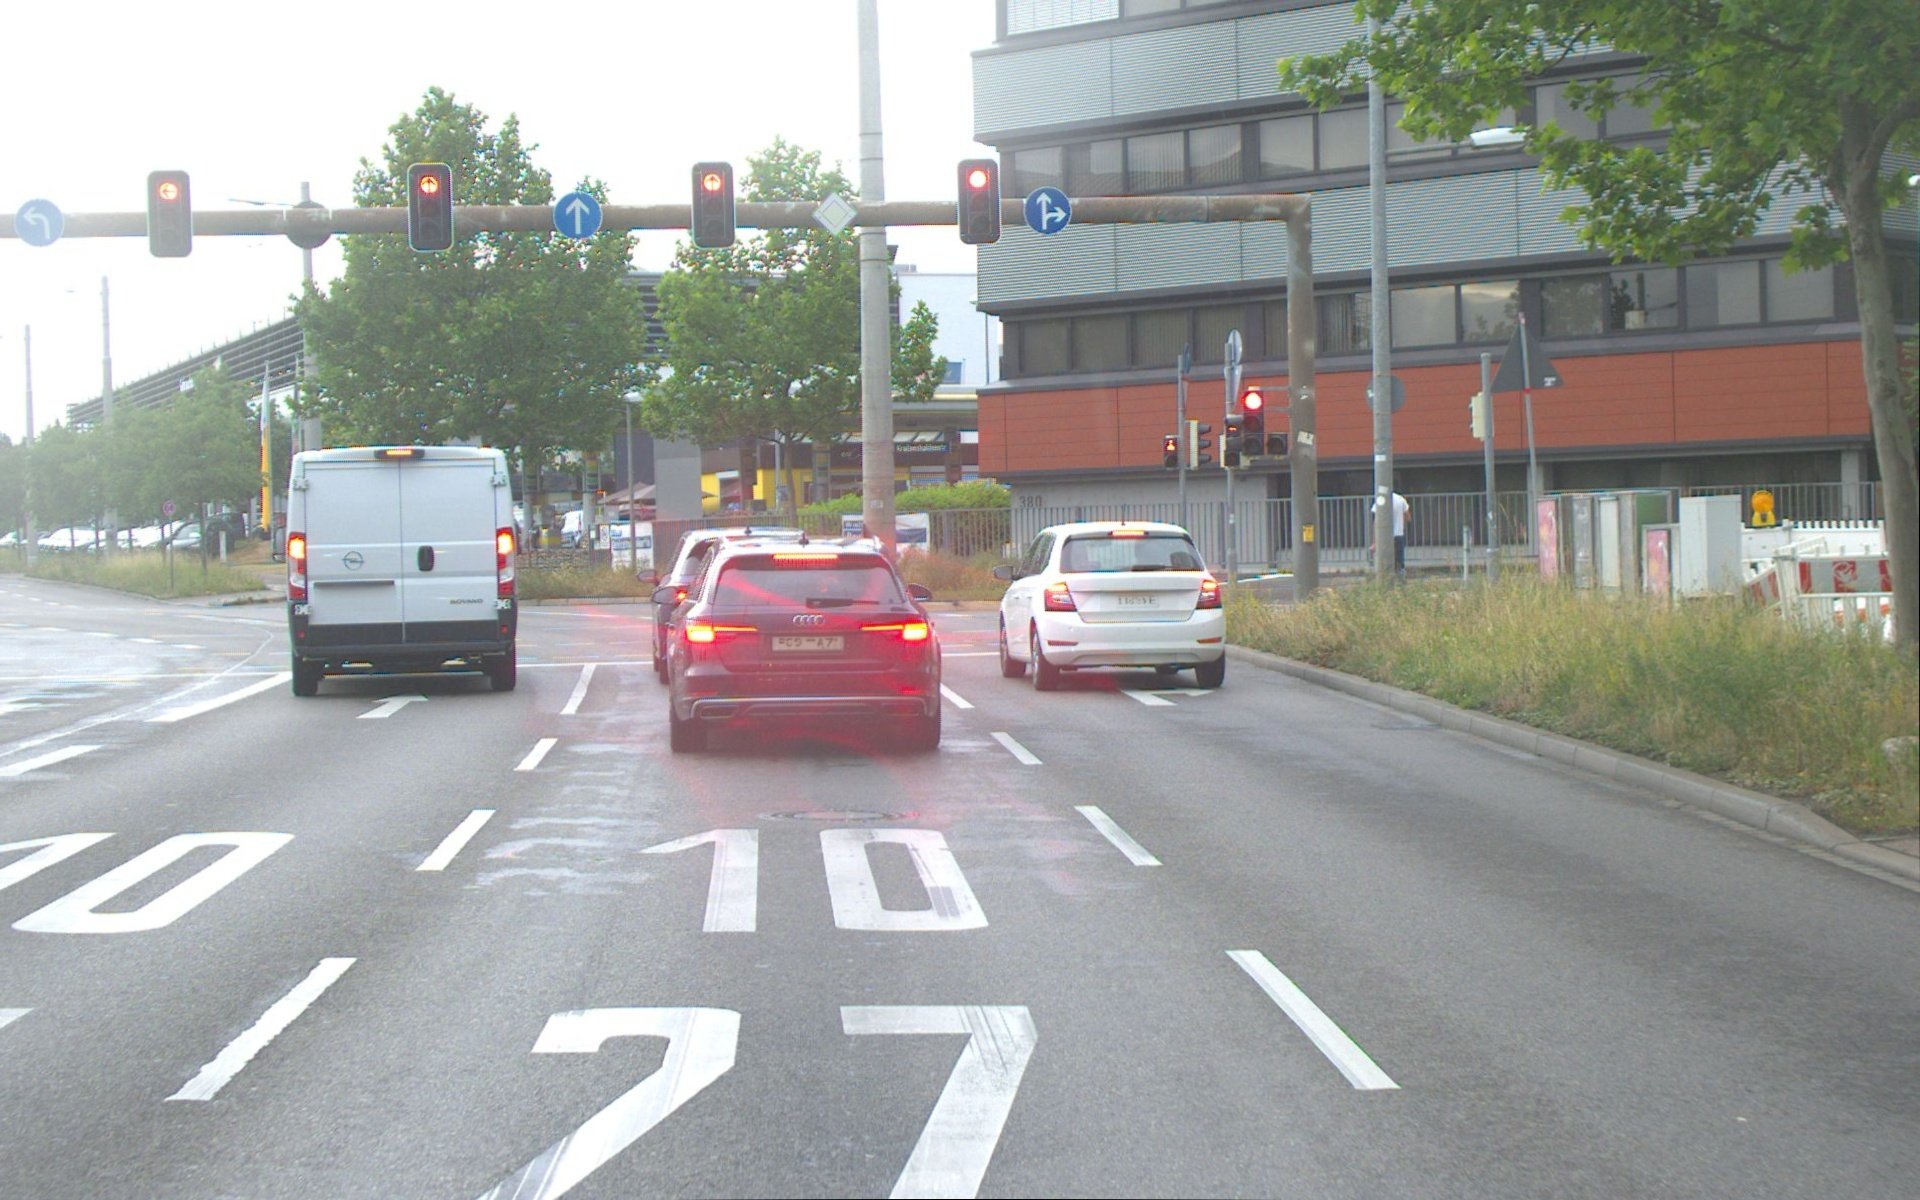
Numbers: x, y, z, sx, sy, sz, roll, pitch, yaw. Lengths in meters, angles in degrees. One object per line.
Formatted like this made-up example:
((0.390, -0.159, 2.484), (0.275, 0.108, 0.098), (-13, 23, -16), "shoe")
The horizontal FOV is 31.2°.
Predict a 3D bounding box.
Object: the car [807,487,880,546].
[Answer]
((-4.193, -2.973, 122.959), (1.674, 2.007, 3.138), (1, 0, -20), "car")

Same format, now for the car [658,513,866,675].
((-1.883, -0.070, 33.607), (1.894, 1.460, 3.909), (-1, 0, -2), "car")

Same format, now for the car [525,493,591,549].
((-14.909, -2.918, 127.371), (1.678, 2.007, 3.543), (1, 0, -19), "car")

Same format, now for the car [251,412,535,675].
((-5.394, -0.507, 32.850), (2.444, 2.286, 4.906), (1, 0, -9), "car")

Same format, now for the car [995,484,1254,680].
((1.417, -0.165, 31.146), (1.828, 1.650, 4.001), (0, 0, -5), "car")

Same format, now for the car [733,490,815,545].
((-7.108, -3.140, 131.099), (1.870, 2.007, 3.775), (1, 0, -24), "car")

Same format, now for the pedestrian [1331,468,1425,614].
((6.277, -0.894, 51.694), (1.143, 2.118, 1.223), (-2, 3, -3), "pedestrian")

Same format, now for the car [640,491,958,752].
((-1.129, 0.122, 23.713), (1.993, 1.631, 4.000), (0, 0, -3), "car")

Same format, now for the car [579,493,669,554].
((-11.627, -2.622, 118.721), (1.993, 2.025, 4.001), (-2, 2, -22), "car")
